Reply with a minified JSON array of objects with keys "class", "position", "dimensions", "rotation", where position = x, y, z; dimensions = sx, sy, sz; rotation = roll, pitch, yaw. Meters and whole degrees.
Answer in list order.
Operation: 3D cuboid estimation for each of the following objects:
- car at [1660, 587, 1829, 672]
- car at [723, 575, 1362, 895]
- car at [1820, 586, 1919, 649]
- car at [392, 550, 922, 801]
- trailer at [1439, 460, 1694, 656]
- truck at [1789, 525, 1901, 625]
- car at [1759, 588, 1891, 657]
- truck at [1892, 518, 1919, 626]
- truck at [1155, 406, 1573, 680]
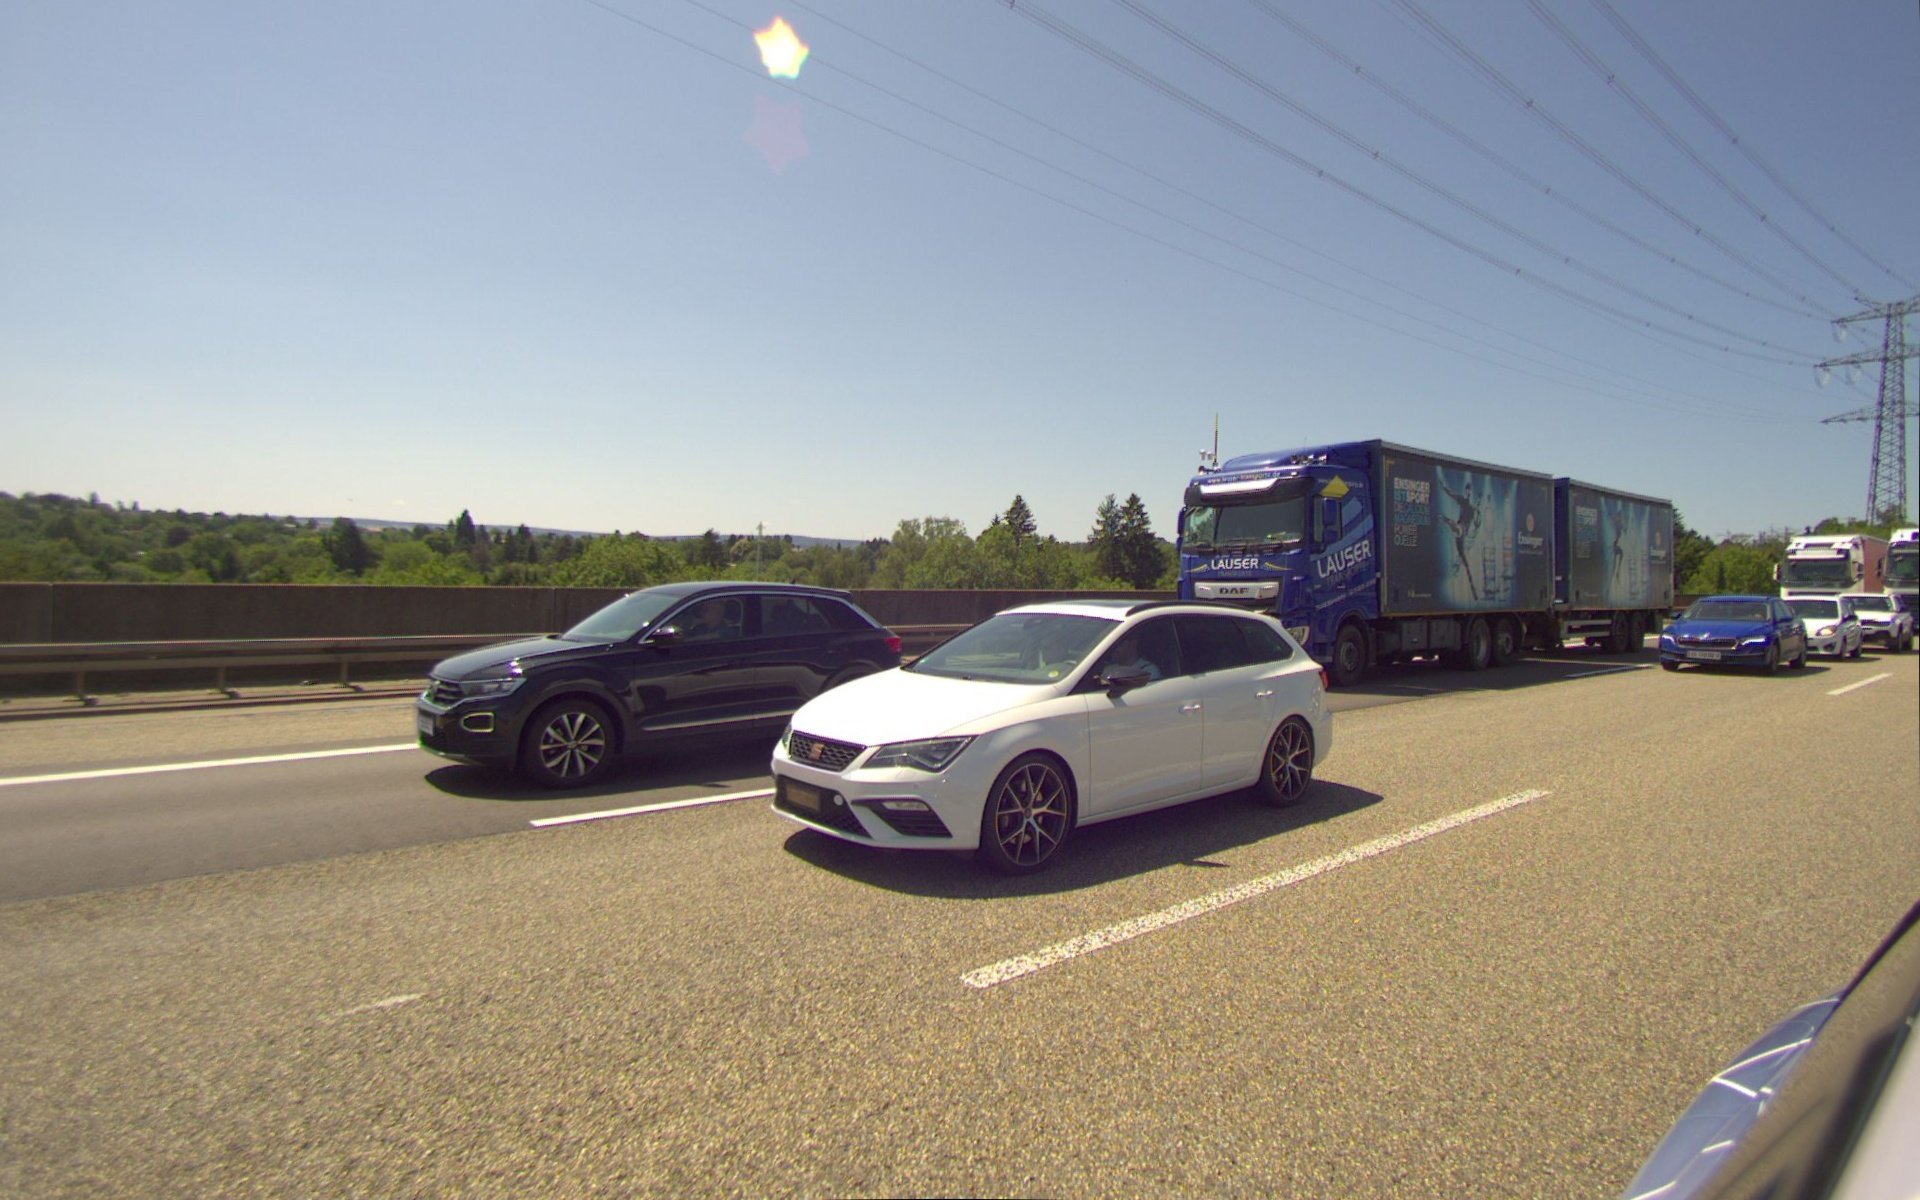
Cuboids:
[{"class":"car","position":[15.494,0.503,19.892],"dimensions":[4.482,1.470,1.712],"rotation":[-1,1,-40]},{"class":"car","position":[0.797,0.618,6.742],"dimensions":[4.351,1.470,1.711],"rotation":[0,0,-41]},{"class":"car","position":[24.273,0.401,26.723],"dimensions":[4.071,1.528,1.712],"rotation":[-1,1,-40]},{"class":"car","position":[-2.446,0.472,8.729],"dimensions":[4.045,1.675,1.711],"rotation":[-1,1,-40]},{"class":"trailer","position":[15.299,-0.961,25.201],"dimensions":[8.485,4.140,2.833],"rotation":[-1,0,-40]},{"class":"truck","position":[39.174,-1.069,44.690],"dimensions":[8.121,4.037,2.606],"rotation":[-1,0,-41]},{"class":"car","position":[20.407,0.473,23.825],"dimensions":[4.071,1.470,1.712],"rotation":[-1,1,-40]},{"class":"truck","position":[37.750,-1.049,38.235],"dimensions":[8.121,3.874,2.847],"rotation":[-1,1,-41]},{"class":"truck","position":[8.099,-0.906,19.160],"dimensions":[10.210,3.999,2.857],"rotation":[-1,1,-40]}]
